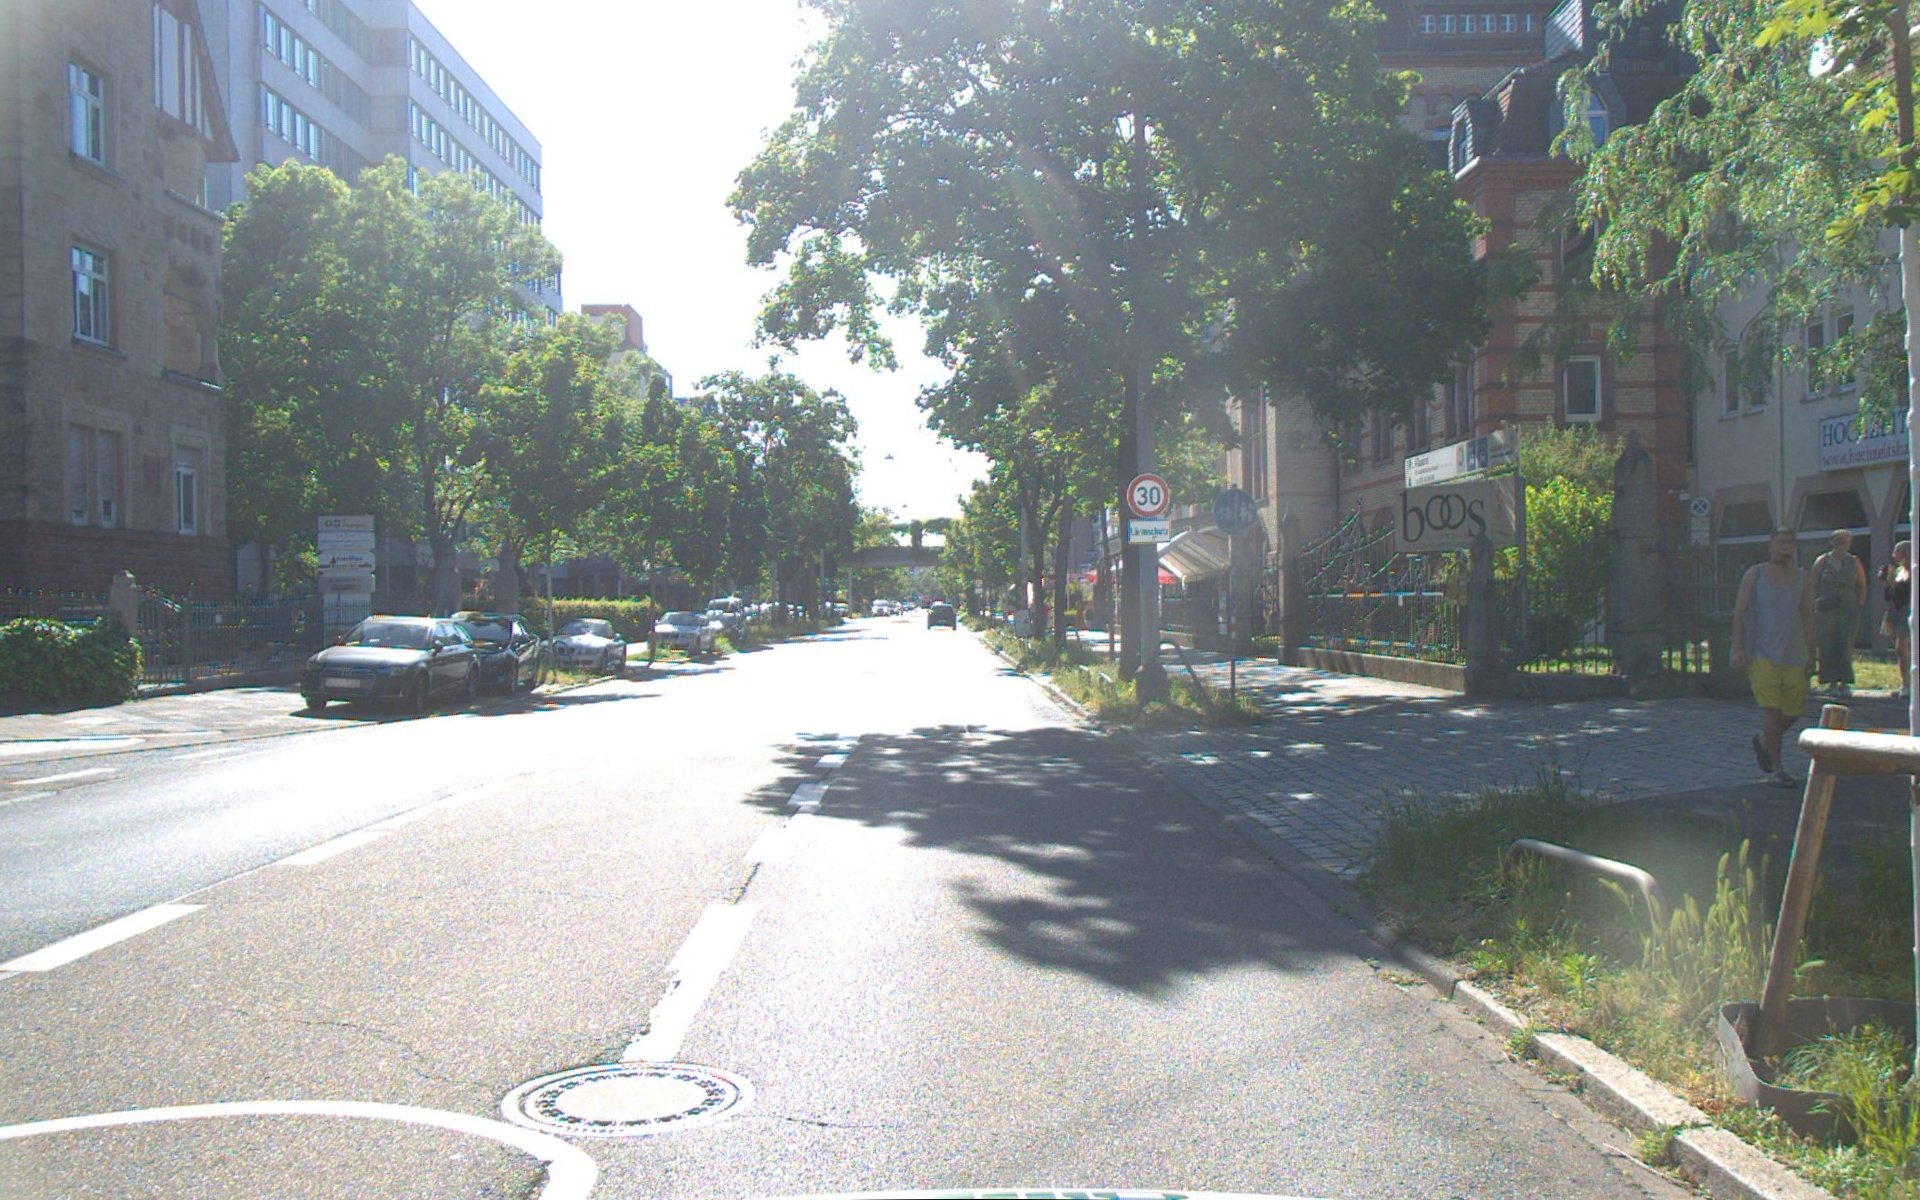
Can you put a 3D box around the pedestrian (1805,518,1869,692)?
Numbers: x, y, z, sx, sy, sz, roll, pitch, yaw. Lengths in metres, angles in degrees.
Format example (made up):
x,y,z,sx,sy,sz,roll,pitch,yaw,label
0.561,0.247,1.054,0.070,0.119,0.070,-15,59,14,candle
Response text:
x,y,z,sx,sy,sz,roll,pitch,yaw,label
9.303,0.050,17.558,0.530,1.809,0.532,-2,0,27,pedestrian

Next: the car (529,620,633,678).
x,y,z,sx,sy,sz,roll,pitch,yaw,label
-9.214,1.172,40.466,1.644,1.277,4.014,0,0,-1,car

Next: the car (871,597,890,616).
x,y,z,sx,sy,sz,roll,pitch,yaw,label
-8.200,0.674,171.513,1.819,1.857,4.608,-3,0,-2,car

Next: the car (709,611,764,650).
x,y,z,sx,sy,sz,roll,pitch,yaw,label
-9.172,1.236,68.179,1.677,1.484,4.072,0,0,0,car

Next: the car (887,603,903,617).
x,y,z,sx,sy,sz,roll,pitch,yaw,label
-8.068,1.281,205.384,1.818,1.595,4.713,-3,0,-2,car

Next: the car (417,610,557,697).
x,y,z,sx,sy,sz,roll,pitch,yaw,label
-9.351,1.004,33.078,1.820,1.520,4.700,2,0,-6,car

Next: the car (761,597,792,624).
x,y,z,sx,sy,sz,roll,pitch,yaw,label
-12.929,0.728,116.561,1.818,1.882,4.560,0,0,-2,car

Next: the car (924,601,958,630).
x,y,z,sx,sy,sz,roll,pitch,yaw,label
-1.165,0.925,99.435,1.945,1.628,4.138,-1,0,-2,car

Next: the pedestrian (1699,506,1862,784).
x,y,z,sx,sy,sz,roll,pitch,yaw,label
5.671,0.299,11.479,0.732,1.818,0.811,-4,0,12,pedestrian

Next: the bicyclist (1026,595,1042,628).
x,y,z,sx,sy,sz,roll,pitch,yaw,label
3.680,0.584,82.354,0.686,1.627,0.954,-1,-1,-2,bicyclist

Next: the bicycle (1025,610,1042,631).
x,y,z,sx,sy,sz,roll,pitch,yaw,label
3.672,1.013,82.323,0.671,1.045,2.095,-1,-1,-2,bicycle

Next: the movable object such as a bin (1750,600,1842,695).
x,y,z,sx,sy,sz,roll,pitch,yaw,label
9.175,0.515,18.178,0.612,0.982,0.667,-4,0,-2,movable object such as a bin

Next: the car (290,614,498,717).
x,y,z,sx,sy,sz,roll,pitch,yaw,label
-9.334,1.023,27.725,1.818,1.452,4.719,3,0,0,car

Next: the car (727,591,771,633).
x,y,z,sx,sy,sz,roll,pitch,yaw,label
-11.454,0.627,90.175,1.942,2.112,5.193,-3,0,-4,car

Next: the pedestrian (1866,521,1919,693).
x,y,z,sx,sy,sz,roll,pitch,yaw,label
9.819,0.064,17.117,0.528,1.739,0.514,-2,0,-9,pedestrian

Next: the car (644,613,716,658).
x,y,z,sx,sy,sz,roll,pitch,yaw,label
-9.565,1.191,56.741,1.653,1.407,4.192,0,0,2,car

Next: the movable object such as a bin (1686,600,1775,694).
x,y,z,sx,sy,sz,roll,pitch,yaw,label
8.469,0.507,18.201,0.612,0.982,0.667,-4,0,-2,movable object such as a bin
